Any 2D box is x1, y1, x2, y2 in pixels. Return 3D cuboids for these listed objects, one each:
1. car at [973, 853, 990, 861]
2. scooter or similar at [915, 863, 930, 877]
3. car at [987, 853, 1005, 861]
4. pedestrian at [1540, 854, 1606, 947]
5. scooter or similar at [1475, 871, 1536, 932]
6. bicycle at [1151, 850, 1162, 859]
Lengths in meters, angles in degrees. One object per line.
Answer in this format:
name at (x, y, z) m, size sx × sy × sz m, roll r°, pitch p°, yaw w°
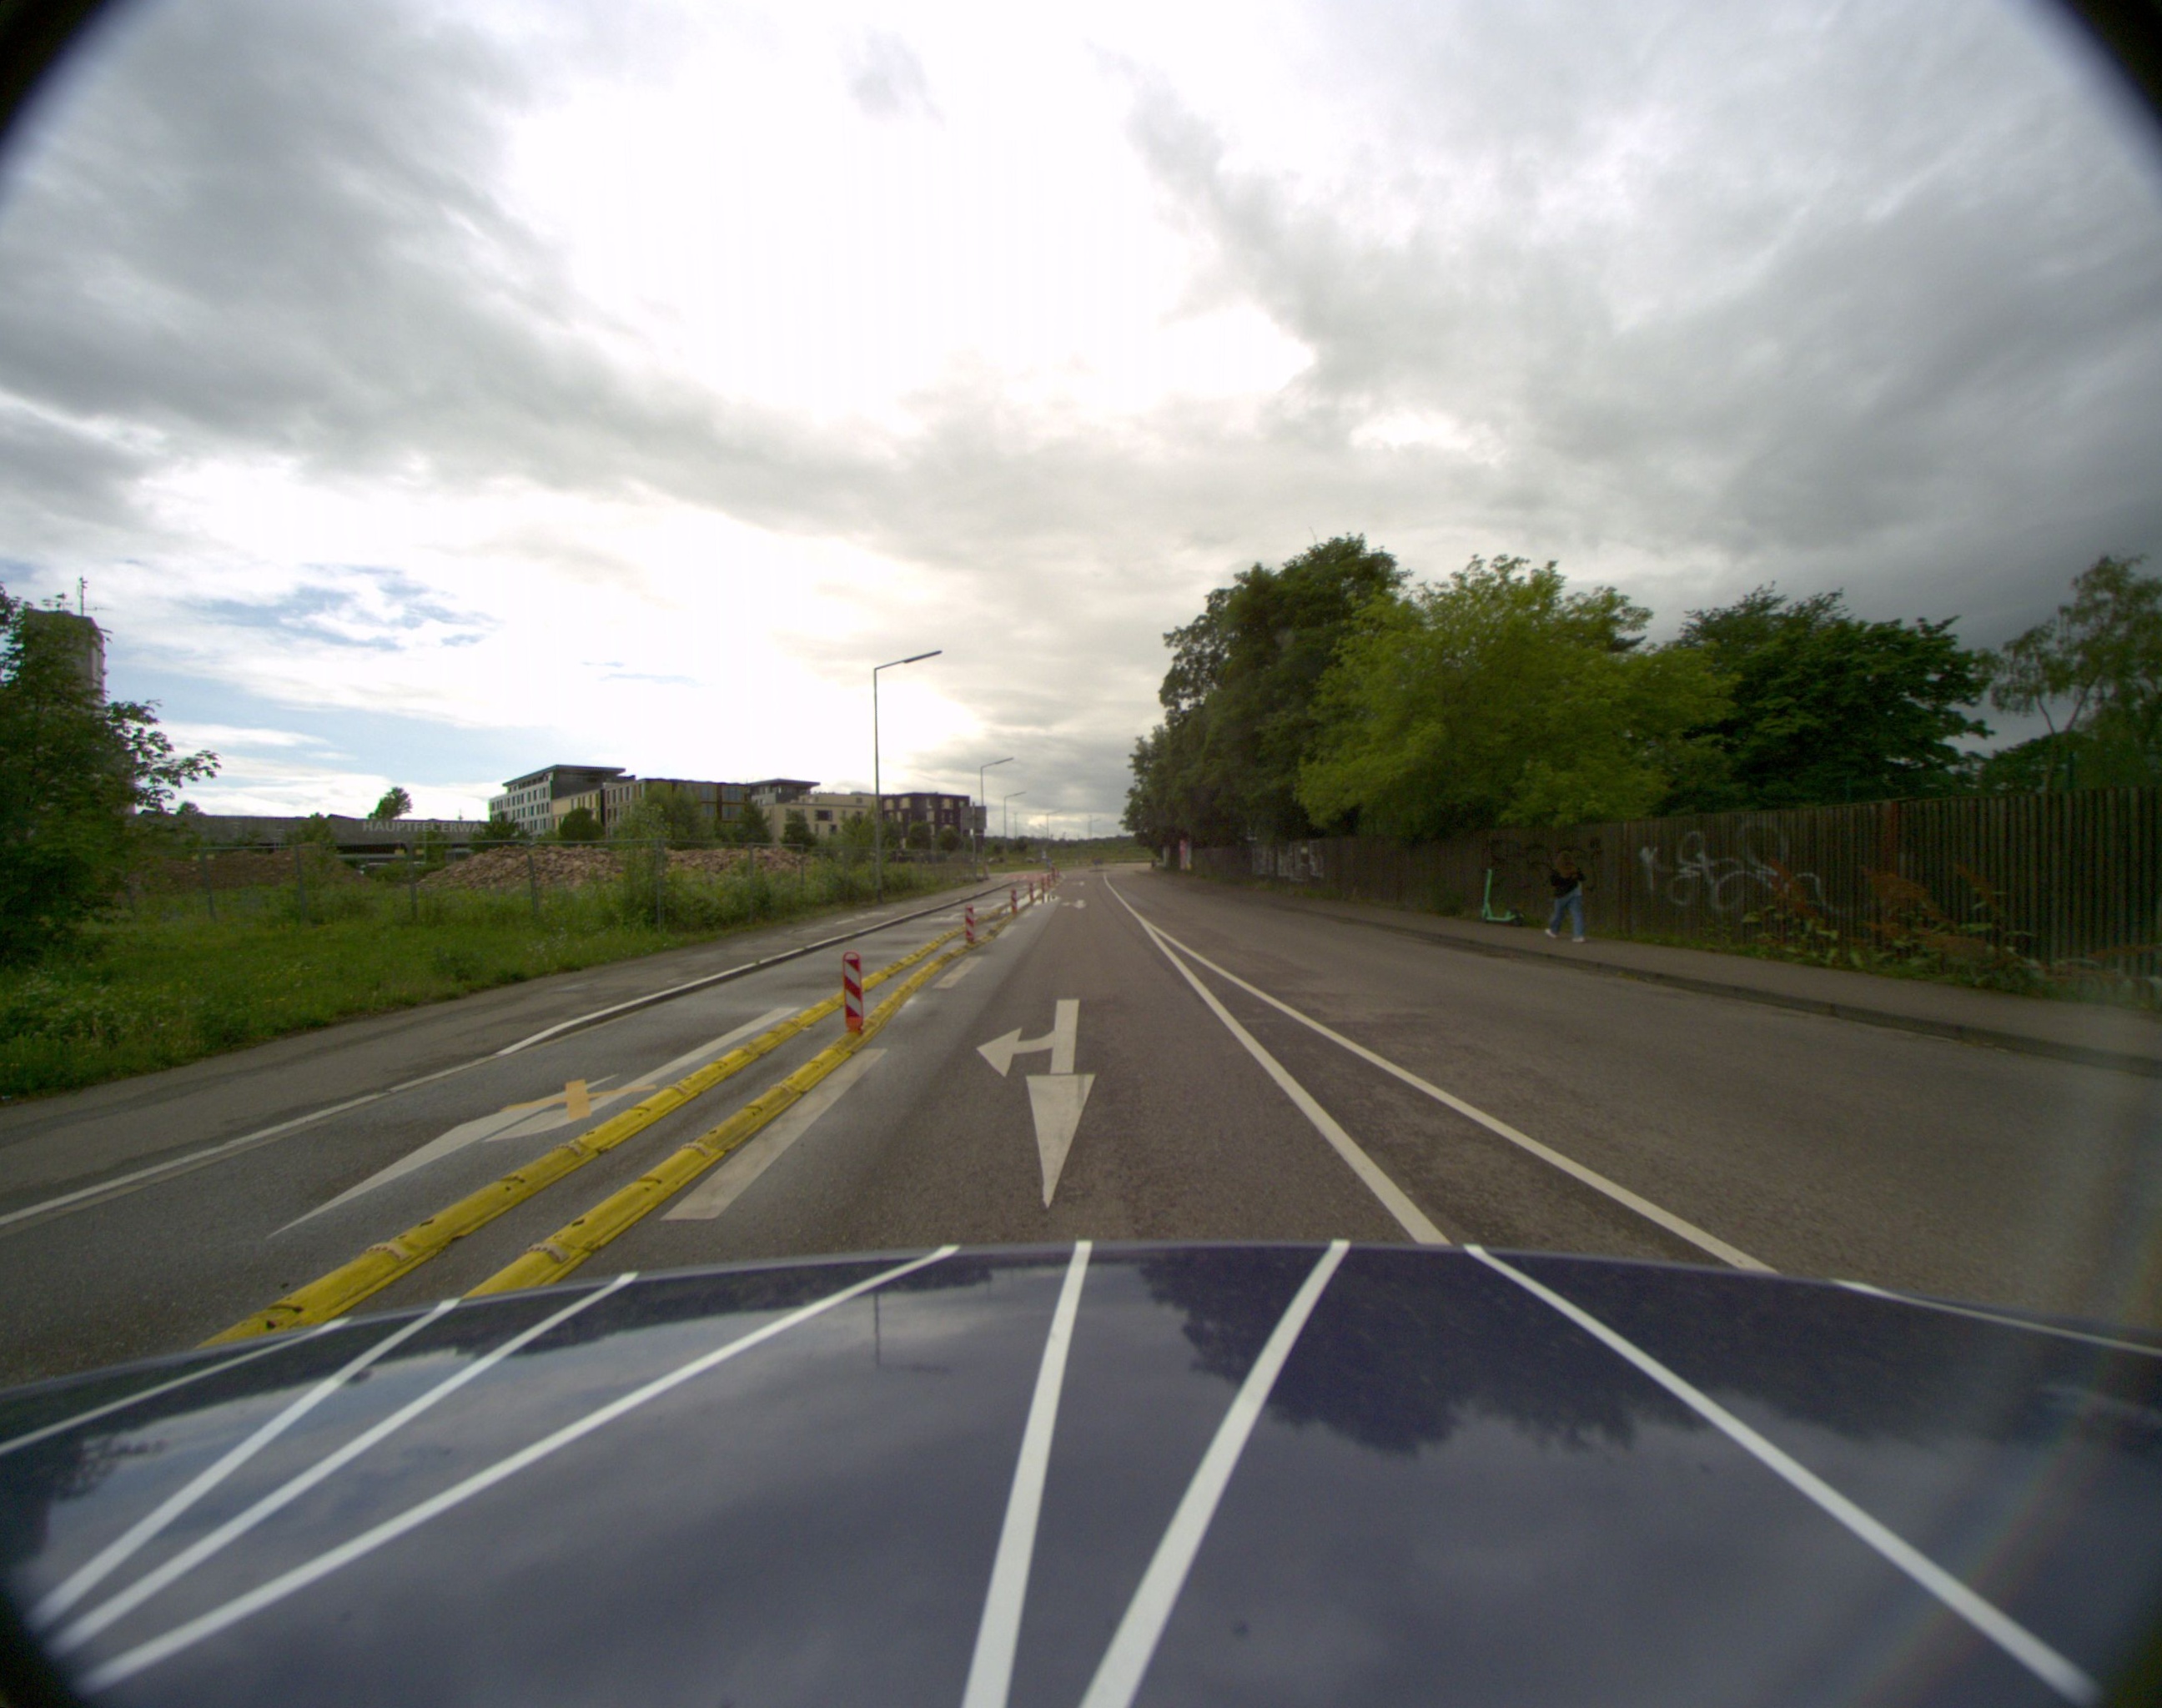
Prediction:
car at (-25.499, 0.737, 194.714) m, size 1.994 × 2.002 × 4.008 m, roll 0°, pitch 0°, yaw 42°
scooter or similar at (-13.191, 1.334, 63.181) m, size 1.323 × 1.178 × 0.447 m, roll 0°, pitch 1°, yaw 41°
car at (-21.150, 0.686, 189.539) m, size 1.994 × 2.002 × 4.008 m, roll 0°, pitch 0°, yaw 42°
pedestrian at (8.286, 0.763, 12.819) m, size 0.614 × 1.520 × 0.724 m, roll -1°, pitch 1°, yaw -4°
scooter or similar at (8.613, 0.945, 15.465) m, size 0.424 × 1.164 × 1.303 m, roll -1°, pitch 0°, yaw -5°
bicycle at (9.268, 0.052, 93.108) m, size 0.582 × 0.992 × 1.773 m, roll -3°, pitch 0°, yaw 28°
